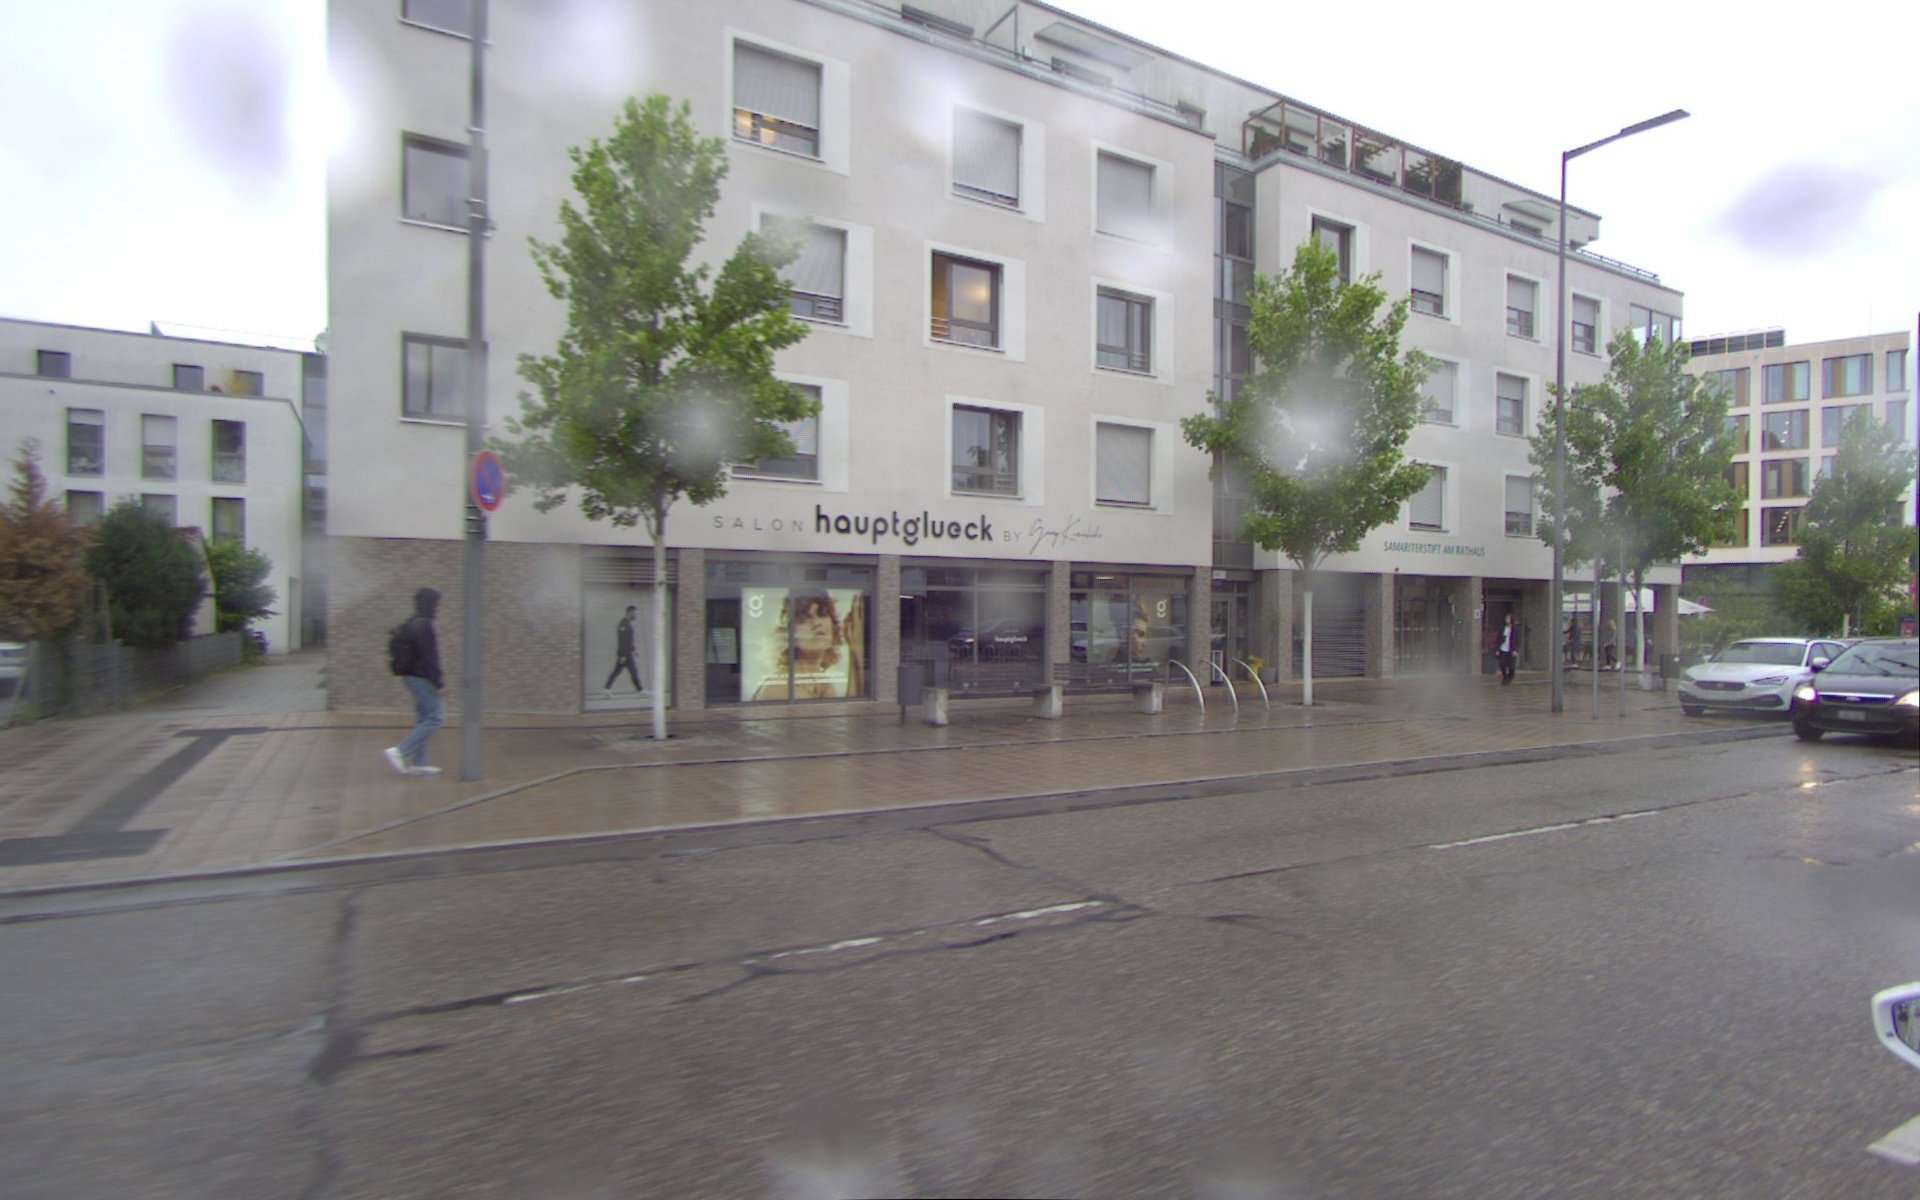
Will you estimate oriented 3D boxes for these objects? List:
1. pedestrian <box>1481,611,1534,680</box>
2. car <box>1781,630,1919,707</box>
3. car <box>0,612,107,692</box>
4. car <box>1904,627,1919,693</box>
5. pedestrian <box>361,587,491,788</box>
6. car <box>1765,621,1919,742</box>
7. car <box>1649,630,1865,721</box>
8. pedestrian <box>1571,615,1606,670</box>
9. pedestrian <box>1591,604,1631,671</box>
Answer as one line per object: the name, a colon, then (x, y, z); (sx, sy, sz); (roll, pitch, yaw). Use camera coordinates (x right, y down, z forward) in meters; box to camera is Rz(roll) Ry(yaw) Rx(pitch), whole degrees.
pedestrian: (14.206, 1.185, 26.061); (0.992, 1.761, 0.805); (3, -2, -31)
car: (19.812, 1.465, 21.618); (4.520, 1.529, 1.685); (3, -3, -28)
car: (-19.748, 1.088, 21.513); (1.667, 1.594, 2.945); (3, -3, -30)
car: (25.381, 1.472, 24.981); (4.418, 1.603, 1.580); (1, -2, -30)
pedestrian: (-5.133, 0.816, 9.662); (0.876, 1.811, 0.793); (3, -3, -43)
car: (13.632, 1.138, 14.425); (4.135, 1.543, 1.872); (3, -3, -30)
car: (14.846, 1.375, 18.652); (4.429, 1.482, 1.786); (3, -2, -32)
pedestrian: (23.698, 1.618, 37.884); (0.928, 2.040, 0.843); (3, -3, -37)
pedestrian: (21.497, 1.244, 33.169); (0.758, 2.173, 0.747); (2, -1, -15)
